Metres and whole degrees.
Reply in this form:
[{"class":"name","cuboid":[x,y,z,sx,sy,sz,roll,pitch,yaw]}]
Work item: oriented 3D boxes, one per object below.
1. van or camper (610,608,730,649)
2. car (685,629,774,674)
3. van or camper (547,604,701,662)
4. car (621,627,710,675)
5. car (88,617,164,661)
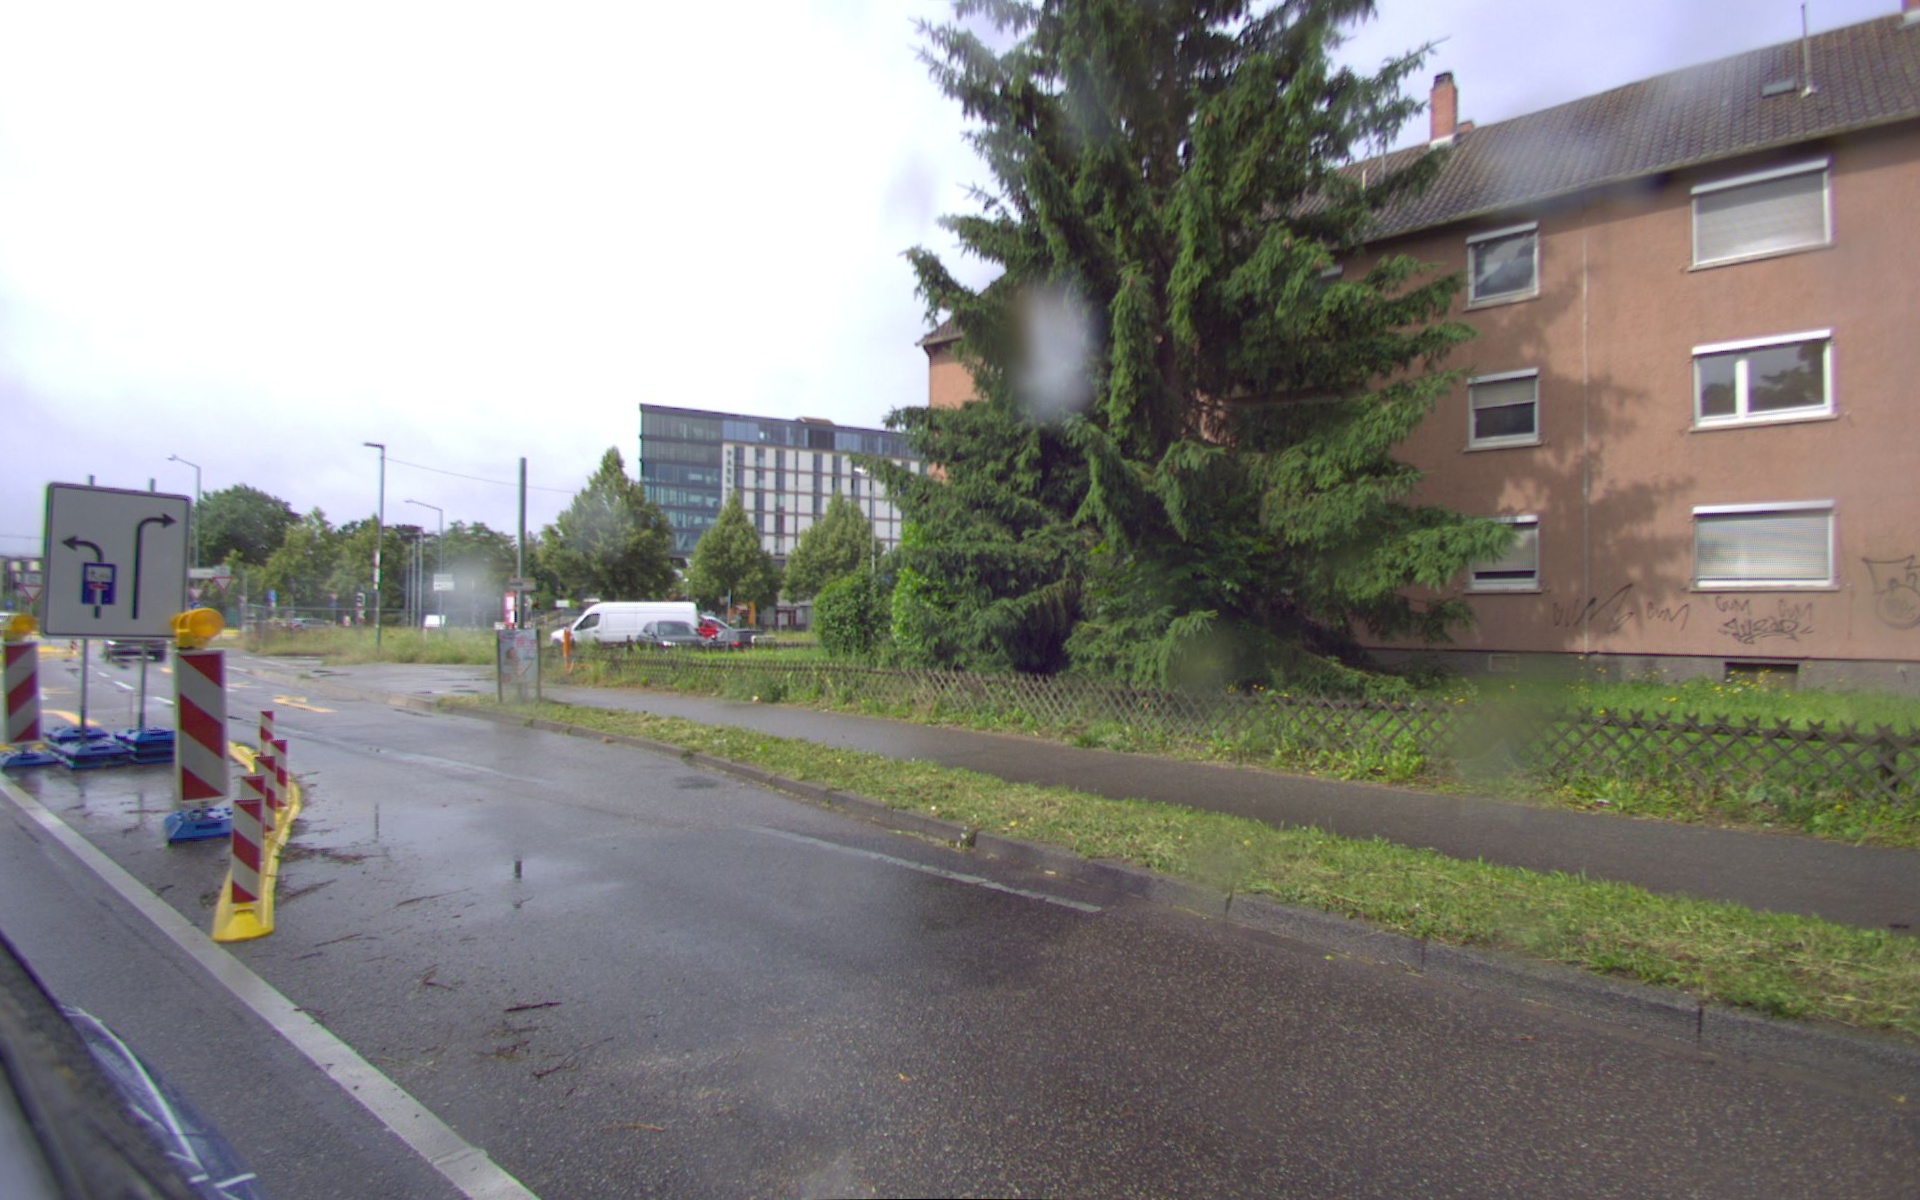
[{"class":"van or camper","cuboid":[-16.138,1.581,56.422,6.289,2.205,2.448,1,-1,-18]},{"class":"car","cuboid":[-9.014,1.961,39.408,1.731,1.630,4.267,1,-2,-38]},{"class":"van or camper","cuboid":[-16.129,1.581,48.849,6.862,2.667,2.519,1,-1,-18]},{"class":"car","cuboid":[-11.007,1.840,37.649,1.731,1.630,4.336,1,-2,-38]},{"class":"car","cuboid":[-30.265,1.391,36.686,3.794,1.519,1.661,-2,-2,44]}]
